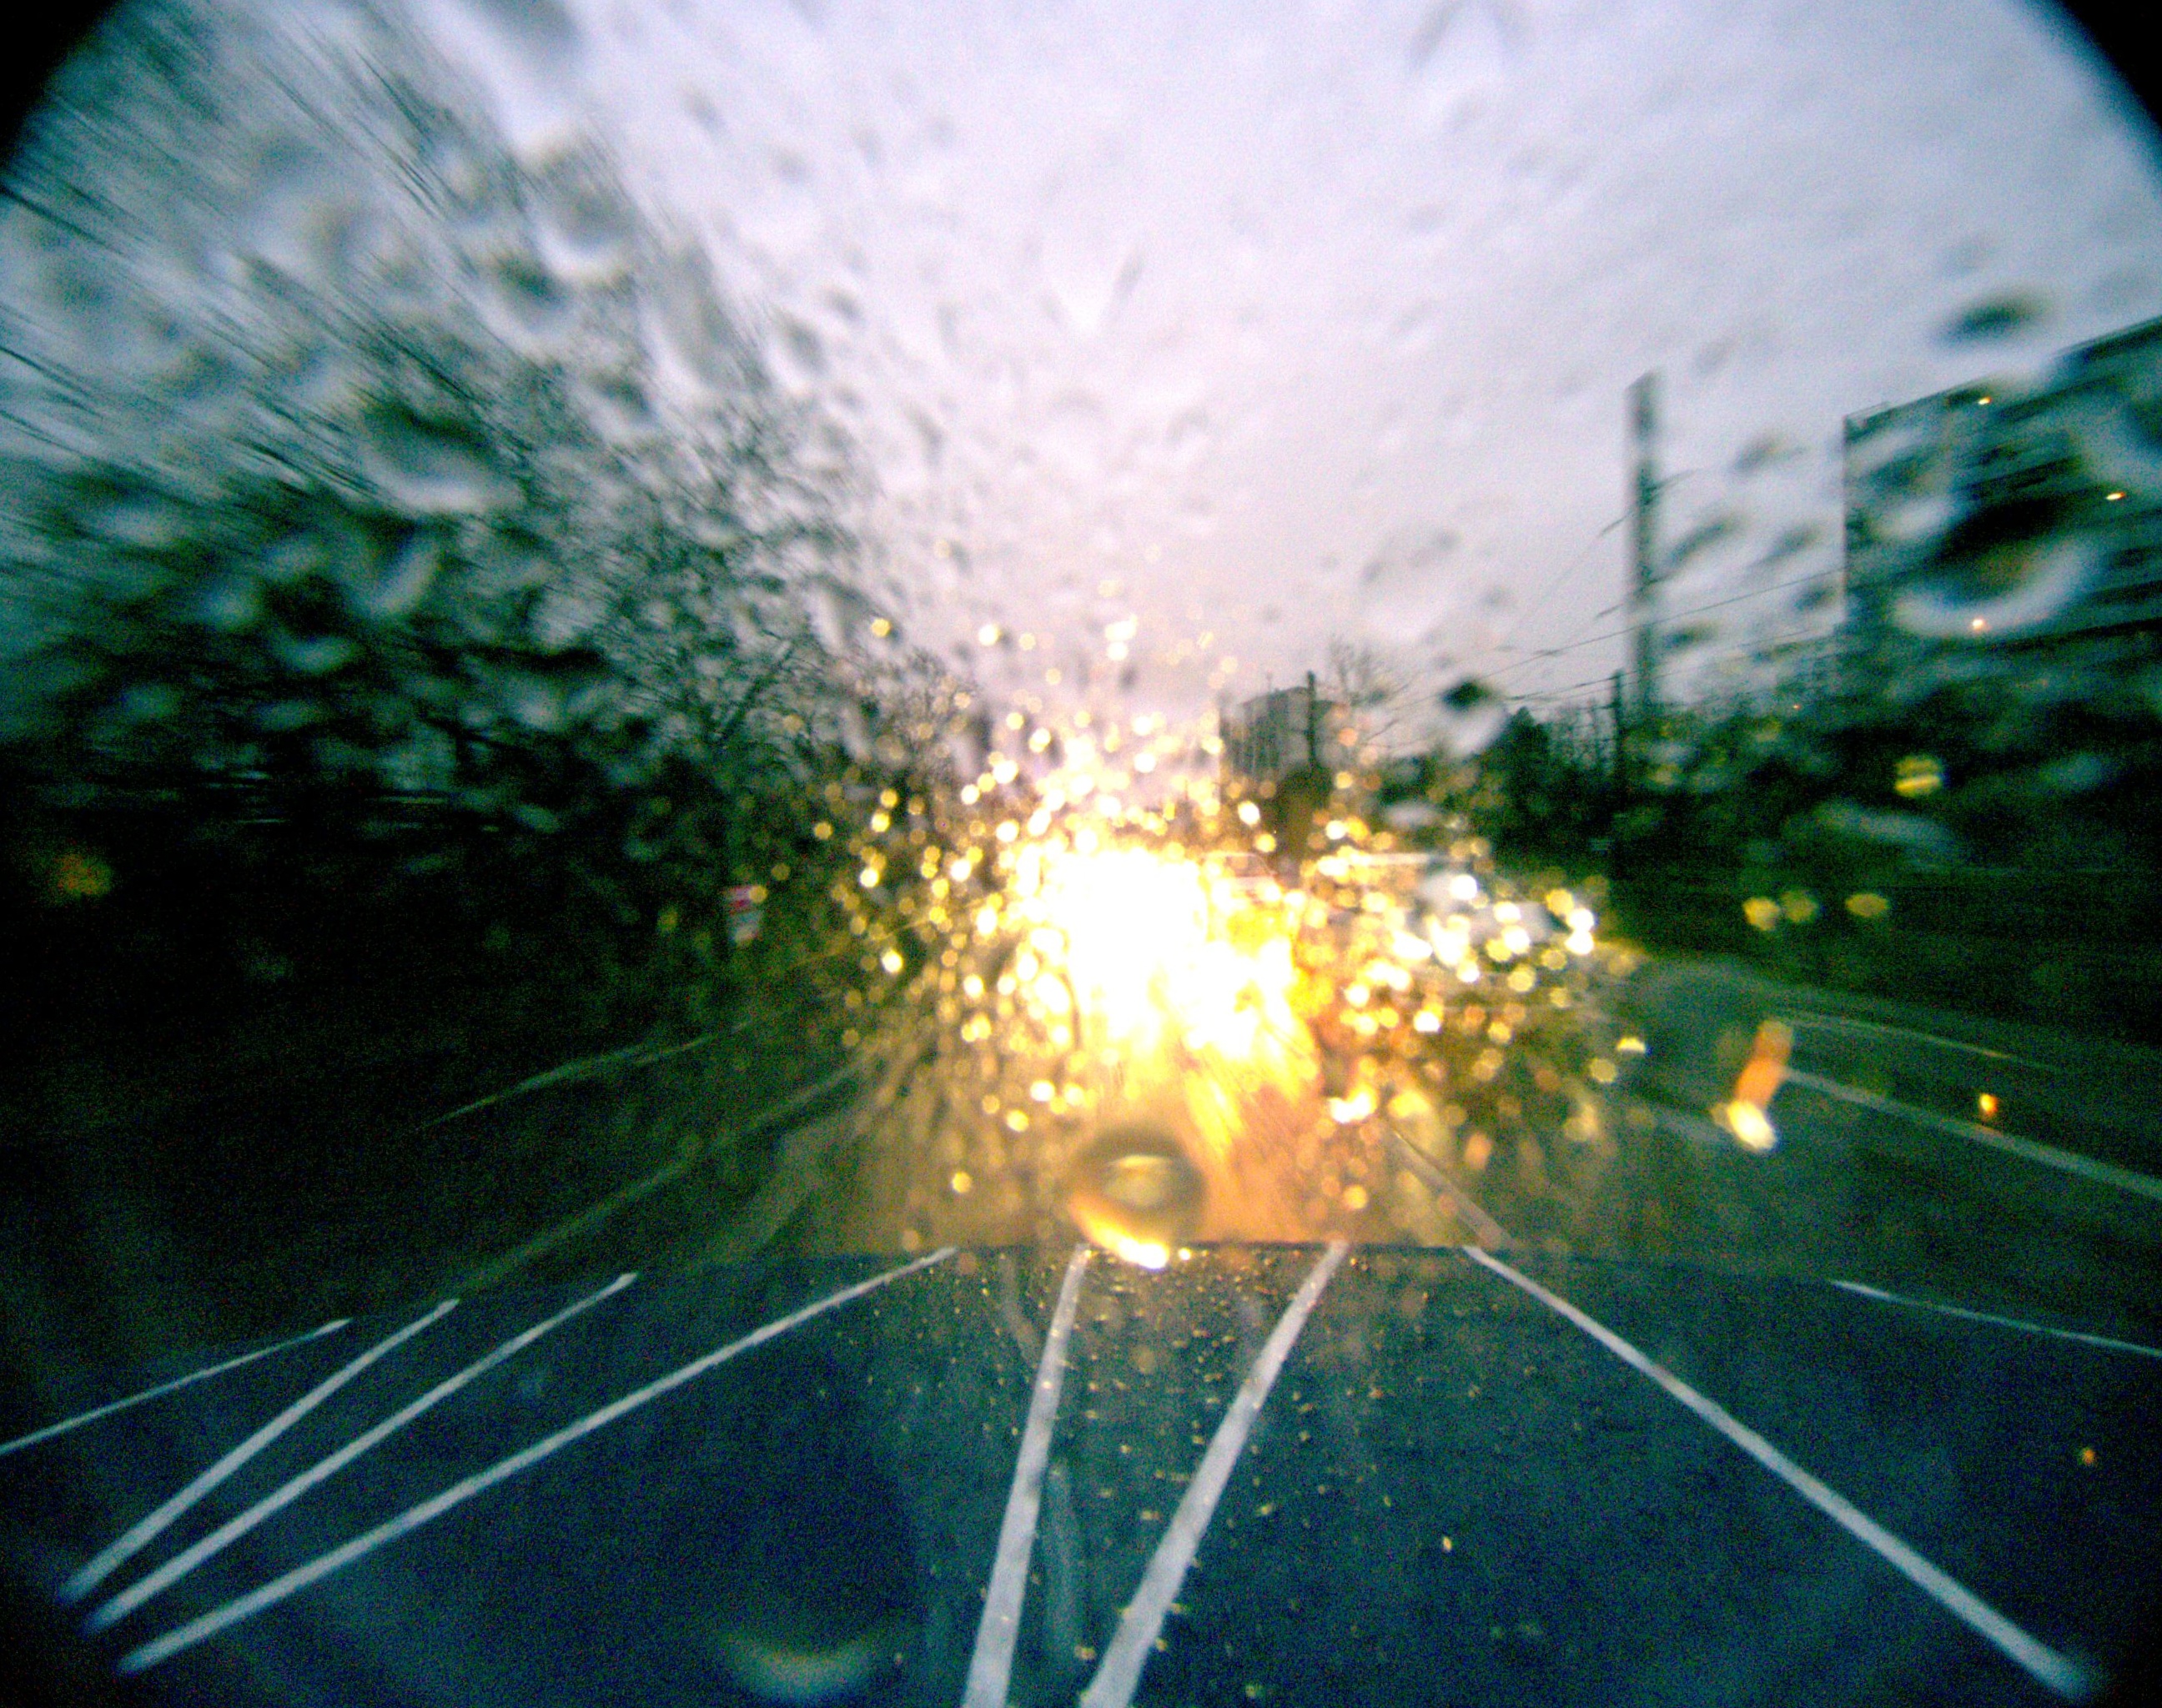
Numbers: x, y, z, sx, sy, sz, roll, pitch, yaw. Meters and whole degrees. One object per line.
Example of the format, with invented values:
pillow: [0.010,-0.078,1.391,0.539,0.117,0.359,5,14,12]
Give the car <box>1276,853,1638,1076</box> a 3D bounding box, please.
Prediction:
car: [3.356,0.832,7.787,1.718,1.638,4.147,-1,0,1]

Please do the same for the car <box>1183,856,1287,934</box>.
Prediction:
car: [3.484,0.857,17.893,1.694,1.530,4.190,-2,0,2]

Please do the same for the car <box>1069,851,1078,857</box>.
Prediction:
car: [-2.117,-0.046,210.852,1.999,1.628,3.997,-3,1,-6]

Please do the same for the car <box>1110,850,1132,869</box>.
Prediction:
car: [3.946,0.520,75.481,1.998,1.652,4.000,-2,1,1]

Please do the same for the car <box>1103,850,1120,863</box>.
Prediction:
car: [4.079,0.354,102.098,1.998,1.605,4.000,-2,1,1]

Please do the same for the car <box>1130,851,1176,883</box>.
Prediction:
car: [3.698,0.637,39.635,1.953,1.590,4.124,-1,0,0]

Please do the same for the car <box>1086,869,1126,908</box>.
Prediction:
car: [1.114,1.529,34.753,1.679,1.590,4.045,-1,0,1]

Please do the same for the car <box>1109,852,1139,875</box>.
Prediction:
car: [3.163,0.661,56.227,1.953,1.590,4.124,-1,0,0]
